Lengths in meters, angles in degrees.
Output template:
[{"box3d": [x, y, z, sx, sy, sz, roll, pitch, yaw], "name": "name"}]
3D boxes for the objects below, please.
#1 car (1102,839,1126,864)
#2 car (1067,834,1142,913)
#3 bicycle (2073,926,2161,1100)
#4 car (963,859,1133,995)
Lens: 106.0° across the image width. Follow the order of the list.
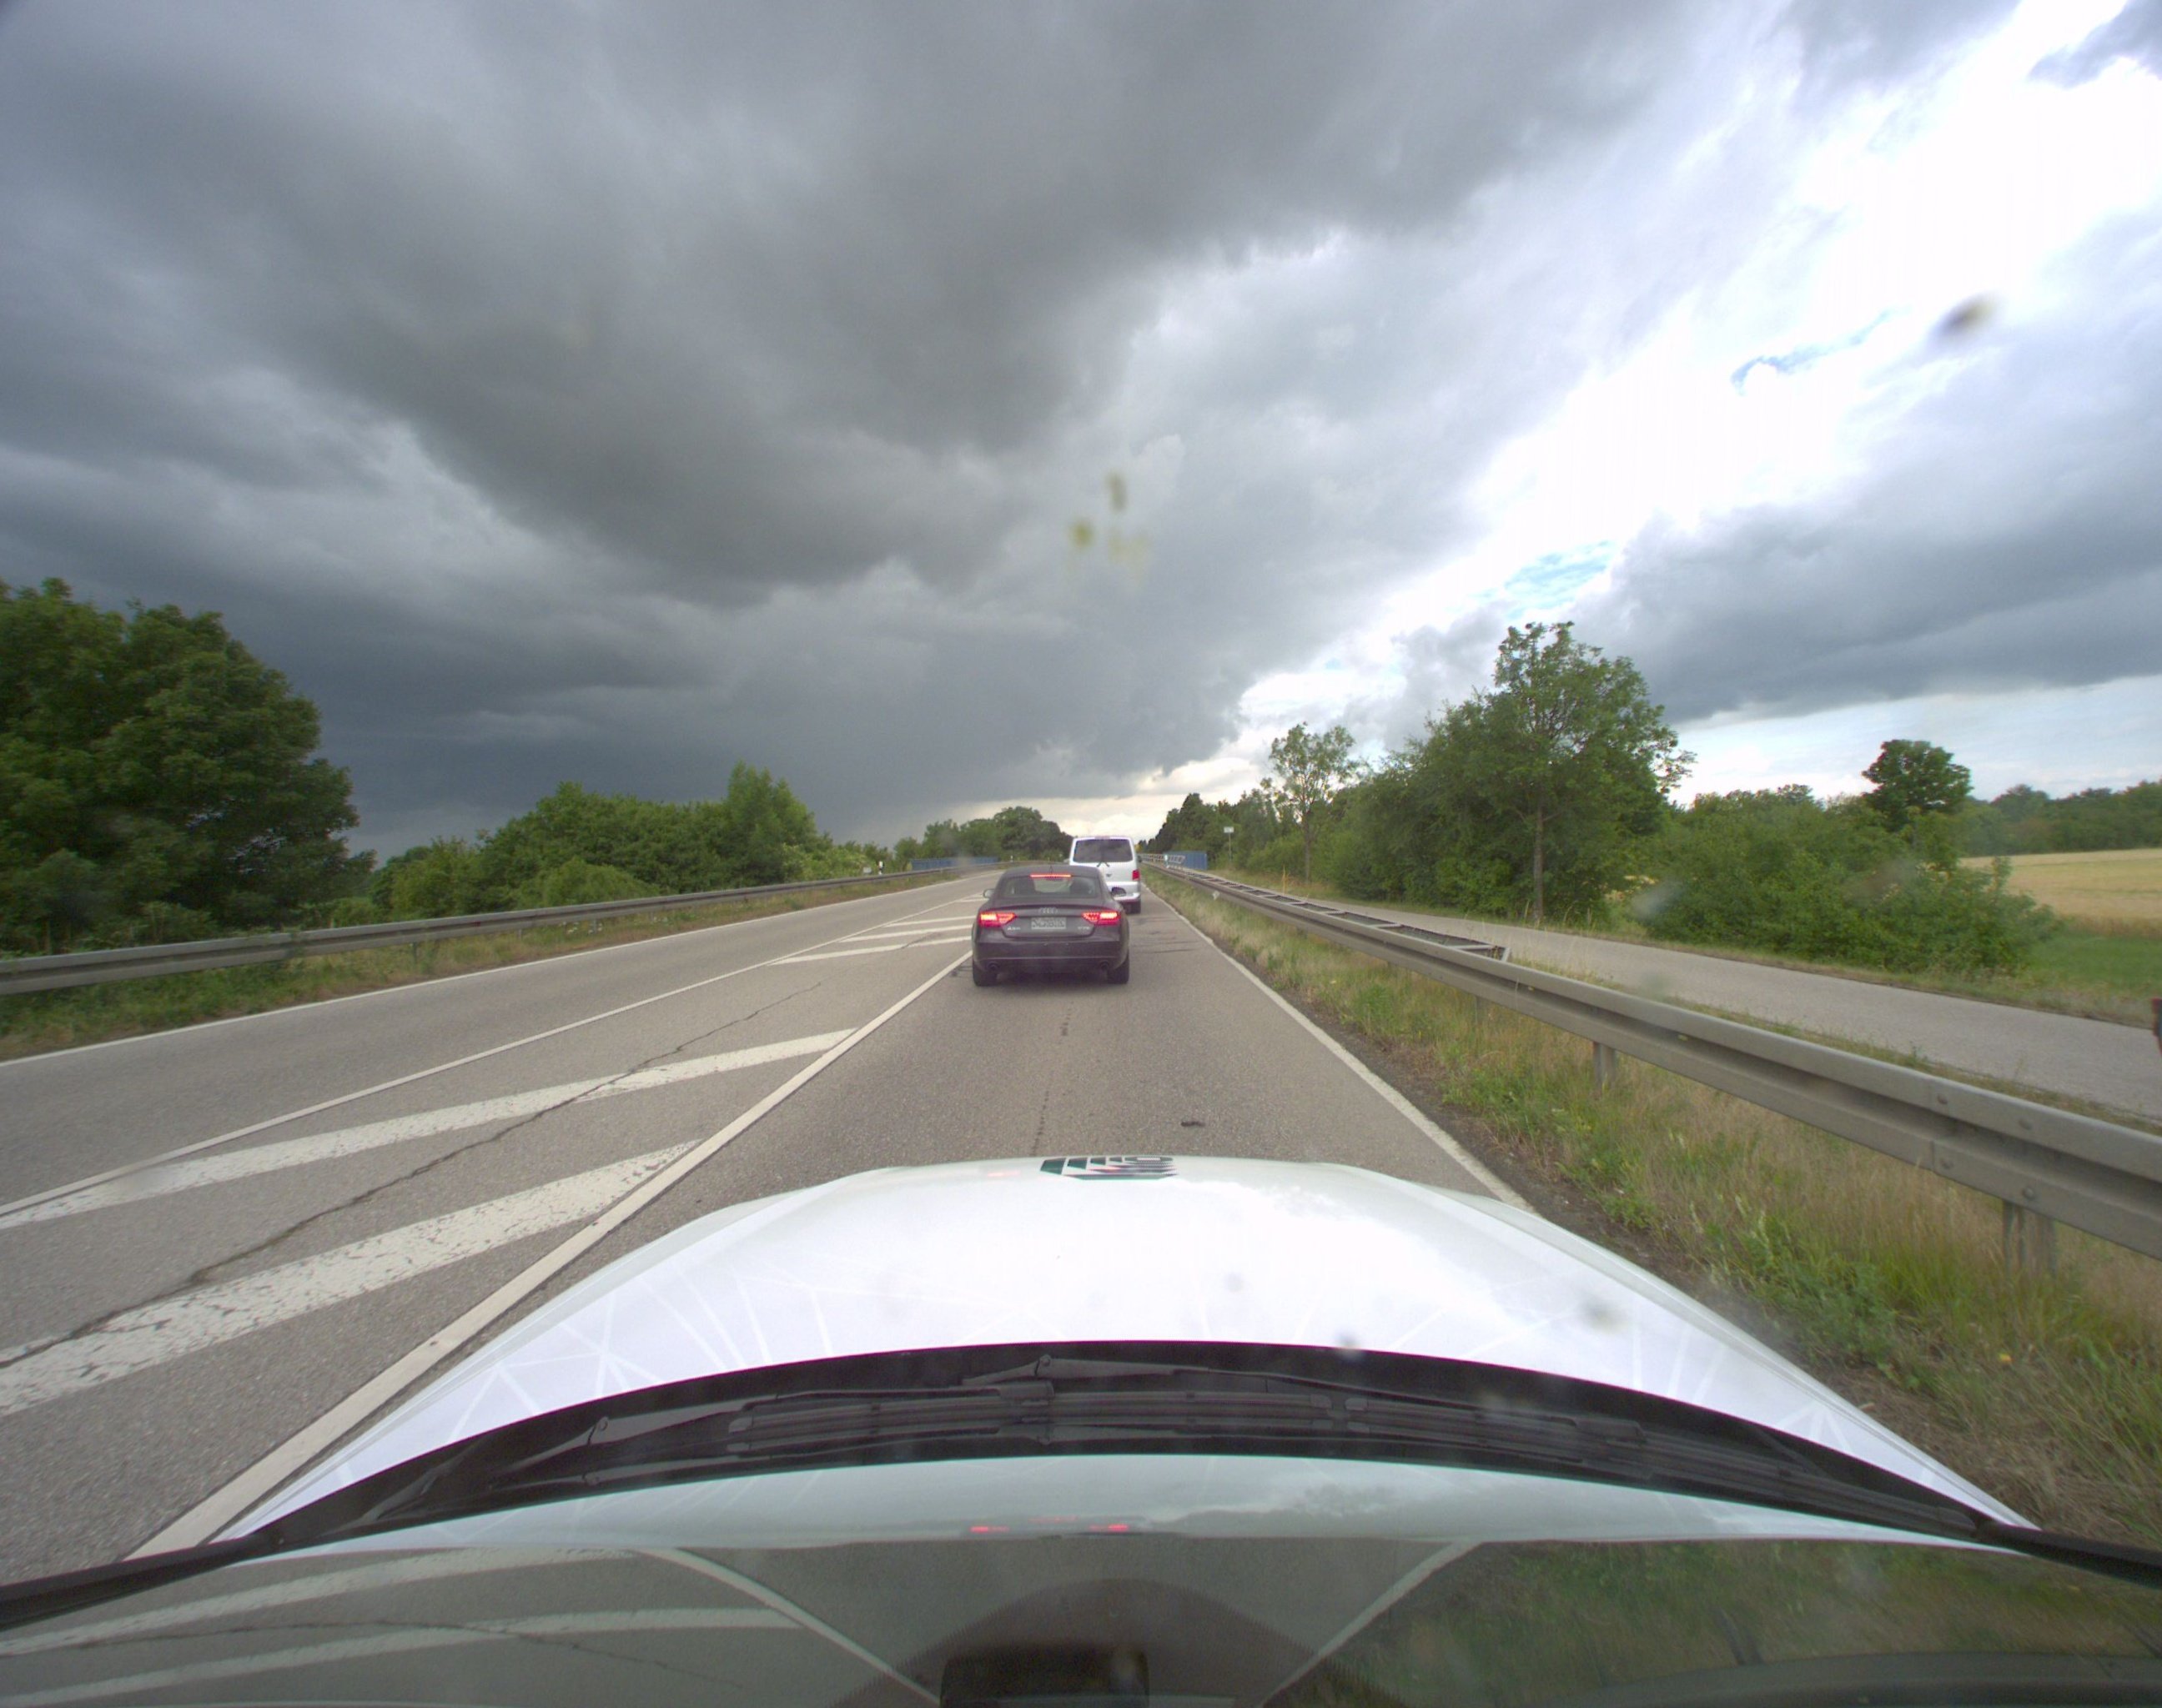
[{"box3d": [3.551, -0.285, 87.297, 2.438, 2.504, 5.044, -1, 0, 2], "name": "car"}, {"box3d": [0.626, 0.482, 21.481, 1.779, 1.890, 4.001, -1, -1, 2], "name": "car"}, {"box3d": [6.303, 0.895, 3.987, 0.663, 0.920, 1.831, -2, 0, 2], "name": "bicycle"}, {"box3d": [-0.291, 0.787, 10.617, 1.779, 1.424, 4.001, -1, -1, 2], "name": "car"}]
